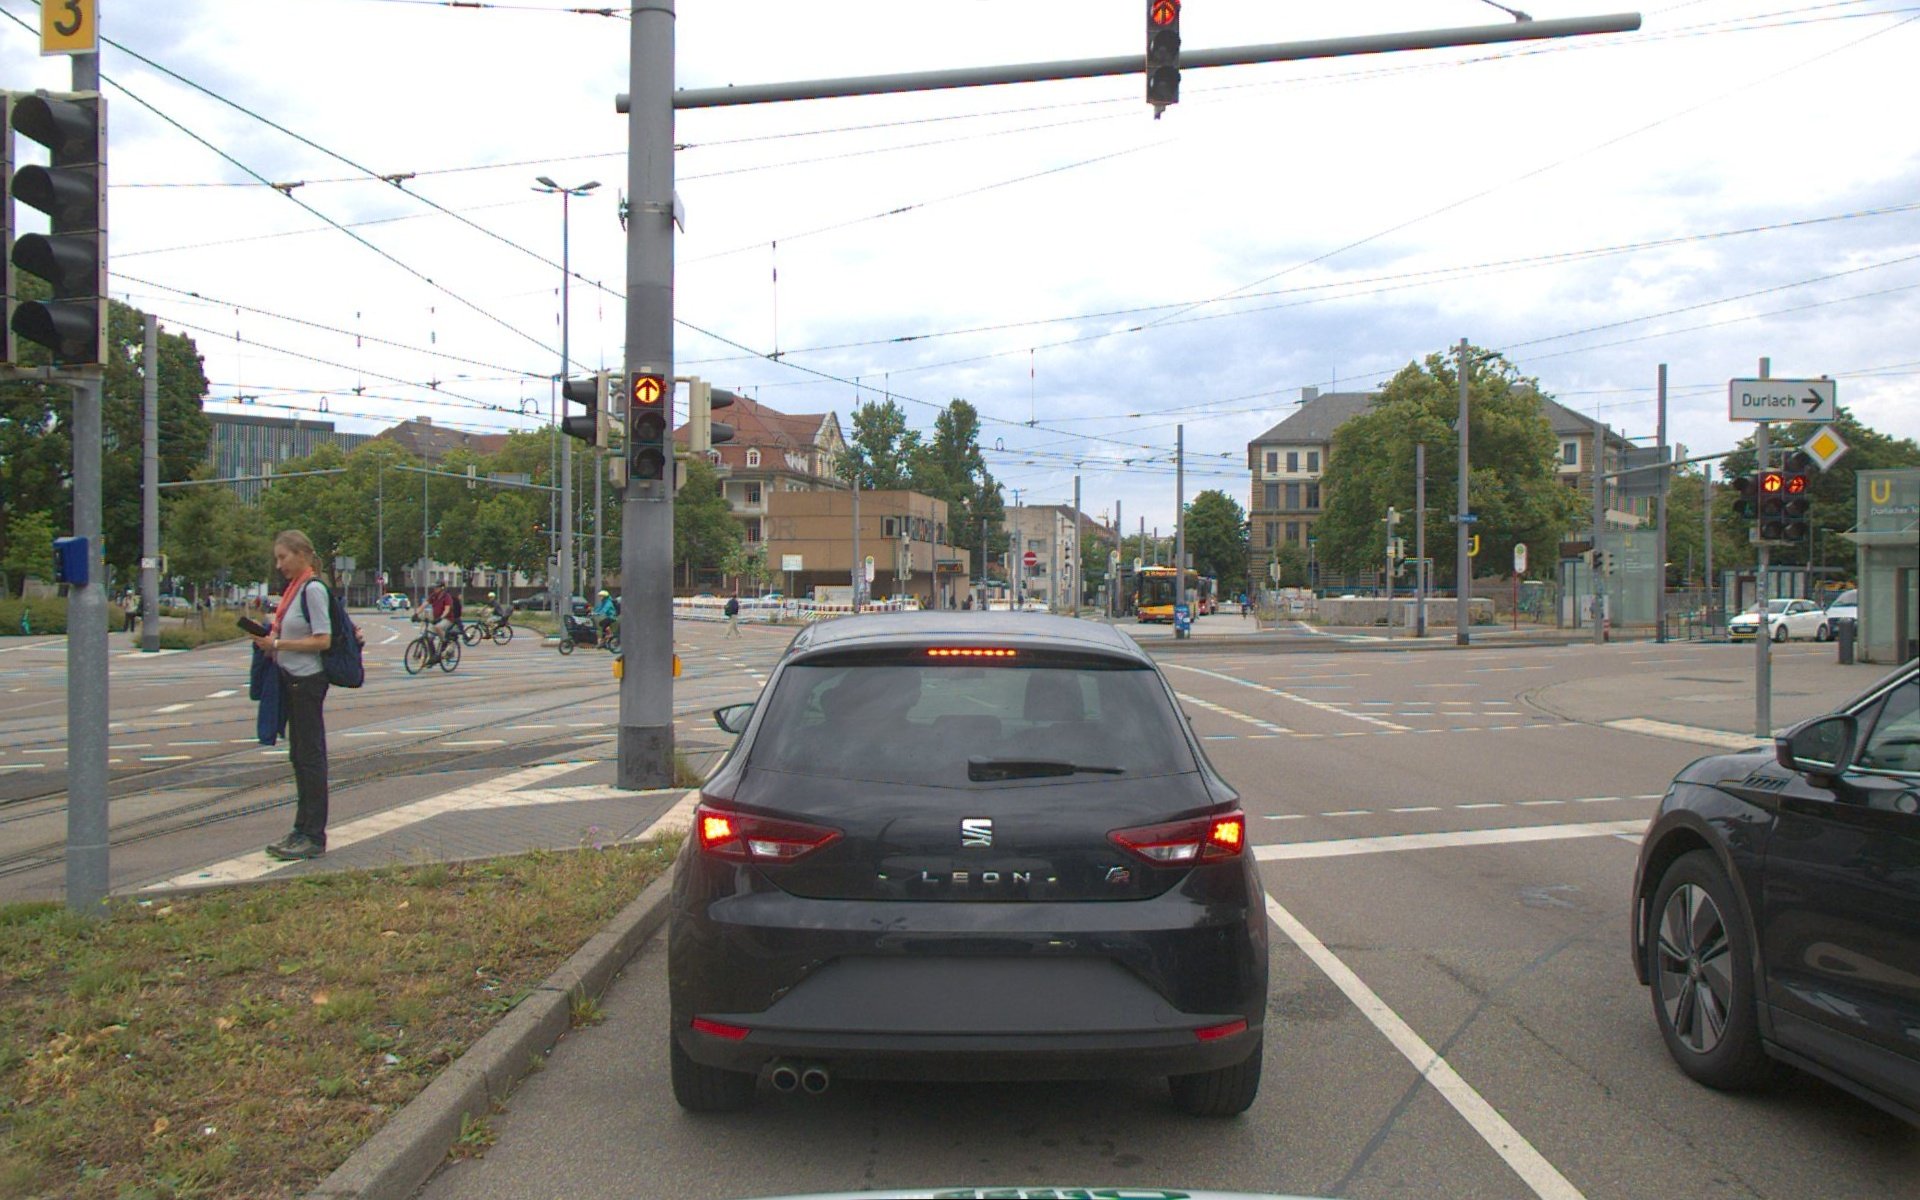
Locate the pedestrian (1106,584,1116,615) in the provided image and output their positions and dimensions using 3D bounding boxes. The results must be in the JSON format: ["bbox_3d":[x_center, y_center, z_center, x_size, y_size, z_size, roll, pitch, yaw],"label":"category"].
[{"bbox_3d":[9.535,-0.017,104.242,0.608,1.951,0.699,0,0,9],"label":"pedestrian"}]

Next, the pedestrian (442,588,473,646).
[{"bbox_3d":[-17.983,0.599,59.192,1.006,2.049,0.841,0,0,-20],"label":"pedestrian"}]

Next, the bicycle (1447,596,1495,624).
[{"bbox_3d":[25.524,0.498,82.647,2.214,1.354,0.707,-1,-1,6],"label":"bicycle"}]

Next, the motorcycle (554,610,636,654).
[{"bbox_3d":[-10.082,0.871,45.741,2.115,1.159,0.735,0,0,-34],"label":"motorcycle"}]

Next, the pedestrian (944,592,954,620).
[{"bbox_3d":[-0.752,0.409,113.743,0.608,1.951,0.711,0,0,2],"label":"pedestrian"}]

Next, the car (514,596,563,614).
[{"bbox_3d":[-35.469,0.417,139.364,3.916,1.489,1.777,0,0,-11],"label":"car"}]

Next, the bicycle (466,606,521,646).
[{"bbox_3d":[-15.781,0.867,55.944,1.714,1.345,0.638,0,0,-33],"label":"bicycle"}]

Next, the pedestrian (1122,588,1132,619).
[{"bbox_3d":[10.554,0.199,104.661,0.608,1.951,0.699,0,0,9],"label":"pedestrian"}]

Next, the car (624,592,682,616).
[{"bbox_3d":[-22.734,0.326,122.682,3.905,1.713,2.000,0,-1,0],"label":"car"}]

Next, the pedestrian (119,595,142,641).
[{"bbox_3d":[-36.941,0.796,73.653,0.787,2.016,0.870,1,-2,-35],"label":"pedestrian"}]

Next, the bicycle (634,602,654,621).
[{"bbox_3d":[-20.600,0.736,107.800,0.879,1.199,2.286,0,0,-22],"label":"bicycle"}]

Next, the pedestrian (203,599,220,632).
[{"bbox_3d":[-46.788,0.966,103.352,0.865,2.016,0.791,0,-1,-19],"label":"pedestrian"}]

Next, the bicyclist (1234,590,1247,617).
[{"bbox_3d":[19.952,0.253,117.712,0.852,1.884,1.048,0,0,12],"label":"bicyclist"}]

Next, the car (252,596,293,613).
[{"bbox_3d":[-59.234,0.386,142.508,3.930,1.489,1.770,0,0,43],"label":"car"}]

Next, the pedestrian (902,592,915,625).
[{"bbox_3d":[-2.992,0.496,96.528,0.693,1.951,0.624,0,0,7],"label":"pedestrian"}]

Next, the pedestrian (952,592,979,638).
[{"bbox_3d":[0.256,0.650,71.558,0.687,1.968,1.026,0,0,38],"label":"pedestrian"}]

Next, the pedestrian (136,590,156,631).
[{"bbox_3d":[-40.257,0.520,81.783,0.787,2.016,0.870,1,-2,-35],"label":"pedestrian"}]

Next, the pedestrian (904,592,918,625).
[{"bbox_3d":[-2.875,0.509,97.325,0.693,1.951,0.624,0,0,7],"label":"pedestrian"}]

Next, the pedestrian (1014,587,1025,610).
[{"bbox_3d":[4.958,-0.116,137.639,0.609,1.952,0.710,-1,-1,25],"label":"pedestrian"}]

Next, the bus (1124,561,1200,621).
[{"bbox_3d":[11.555,-0.519,93.642,2.897,3.178,11.548,0,0,14],"label":"bus"}]

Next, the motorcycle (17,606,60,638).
[{"bbox_3d":[-37.897,0.882,68.009,0.503,1.290,1.463,0,0,43],"label":"motorcycle"}]

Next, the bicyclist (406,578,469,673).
[{"bbox_3d":[-10.851,0.519,34.363,0.760,1.931,0.996,0,0,28],"label":"bicyclist"}]

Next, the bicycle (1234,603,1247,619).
[{"bbox_3d":[19.980,0.778,117.818,0.847,1.124,2.304,0,0,11],"label":"bicycle"}]

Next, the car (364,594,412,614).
[{"bbox_3d":[-50.394,0.352,145.673,3.907,1.803,1.715,0,0,25],"label":"car"}]

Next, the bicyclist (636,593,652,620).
[{"bbox_3d":[-20.574,0.409,107.727,0.870,1.762,0.888,0,0,-22],"label":"bicyclist"}]

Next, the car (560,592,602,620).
[{"bbox_3d":[-23.950,0.387,104.396,1.966,1.713,3.973,0,-1,-22],"label":"car"}]

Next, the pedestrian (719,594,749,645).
[{"bbox_3d":[-8.752,0.758,64.033,1.015,1.968,0.695,0,0,-26],"label":"pedestrian"}]

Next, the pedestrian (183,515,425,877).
[{"bbox_3d":[-3.759,0.518,9.503,1.096,1.940,0.724,1,-1,-44],"label":"pedestrian"}]

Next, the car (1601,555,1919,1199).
[{"bbox_3d":[3.268,0.704,3.779,1.741,1.625,4.508,0,0,-2],"label":"car"}]

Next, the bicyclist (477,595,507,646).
[{"bbox_3d":[-15.811,0.682,55.917,0.846,1.702,0.647,0,0,-32],"label":"bicyclist"}]

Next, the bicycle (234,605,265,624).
[{"bbox_3d":[-45.818,0.906,106.714,0.920,1.199,2.728,0,0,-2],"label":"bicycle"}]

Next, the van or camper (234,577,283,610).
[{"bbox_3d":[-69.252,-0.618,163.195,5.403,3.179,2.382,0,0,41],"label":"van or camper"}]

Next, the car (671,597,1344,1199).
[{"bbox_3d":[-0.019,0.735,5.987,1.671,1.474,3.808,0,0,-5],"label":"car"}]

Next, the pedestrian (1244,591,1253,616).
[{"bbox_3d":[23.302,0.270,133.643,0.648,2.049,0.691,0,0,-1],"label":"pedestrian"}]

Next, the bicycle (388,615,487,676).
[{"bbox_3d":[-10.843,0.922,34.401,0.760,1.205,2.030,0,0,27],"label":"bicycle"}]

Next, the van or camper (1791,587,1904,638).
[{"bbox_3d":[32.115,0.472,59.851,4.257,1.773,1.974,0,-1,-36],"label":"van or camper"}]

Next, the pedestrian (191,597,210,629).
[{"bbox_3d":[-47.907,0.845,104.340,0.860,2.016,0.795,0,-1,-2],"label":"pedestrian"}]

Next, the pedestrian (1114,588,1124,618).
[{"bbox_3d":[10.173,0.198,105.588,0.608,1.951,0.711,0,0,2],"label":"pedestrian"}]

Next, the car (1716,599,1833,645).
[{"bbox_3d":[27.505,0.735,55.822,3.948,1.490,1.756,0,-1,-32],"label":"car"}]

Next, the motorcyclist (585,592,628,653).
[{"bbox_3d":[-9.810,0.612,45.947,0.968,1.678,0.741,0,-1,-34],"label":"motorcyclist"}]

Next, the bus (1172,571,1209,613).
[{"bbox_3d":[19.155,-0.651,136.971,2.597,3.340,11.004,0,0,10],"label":"bus"}]

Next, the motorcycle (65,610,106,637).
[{"bbox_3d":[-36.978,0.984,69.951,0.499,1.130,1.746,0,0,12],"label":"motorcycle"}]

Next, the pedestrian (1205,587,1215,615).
[{"bbox_3d":[18.472,0.089,122.336,0.648,2.049,0.691,0,0,-1],"label":"pedestrian"}]
